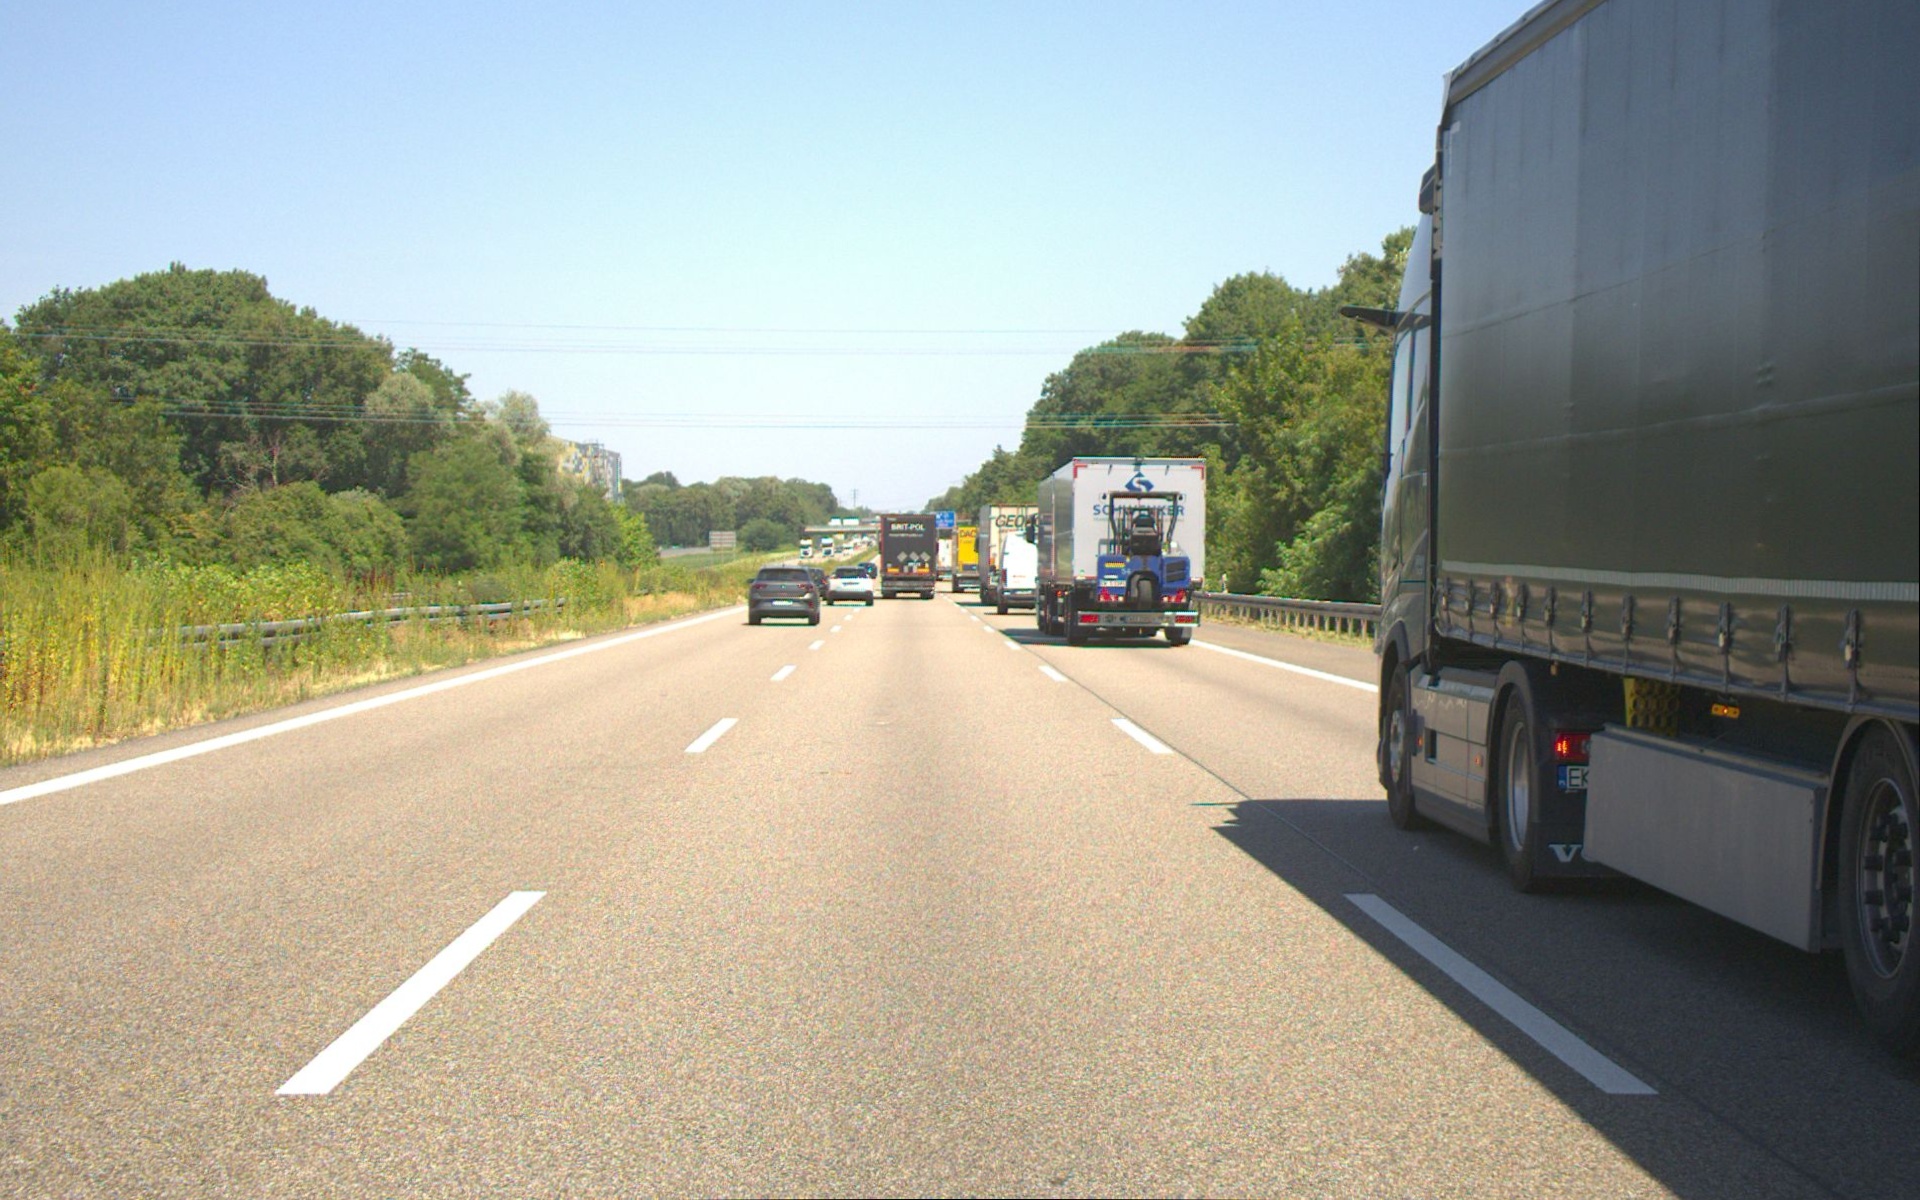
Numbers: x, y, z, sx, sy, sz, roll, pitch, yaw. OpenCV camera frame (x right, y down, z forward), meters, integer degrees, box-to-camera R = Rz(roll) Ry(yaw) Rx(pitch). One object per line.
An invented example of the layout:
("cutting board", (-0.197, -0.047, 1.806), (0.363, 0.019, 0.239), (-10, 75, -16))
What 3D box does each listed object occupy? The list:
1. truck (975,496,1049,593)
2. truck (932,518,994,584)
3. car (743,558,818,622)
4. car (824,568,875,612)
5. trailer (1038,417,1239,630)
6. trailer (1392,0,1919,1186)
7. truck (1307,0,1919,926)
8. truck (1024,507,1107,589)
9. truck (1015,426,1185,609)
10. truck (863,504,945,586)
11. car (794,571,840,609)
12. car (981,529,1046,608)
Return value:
("truck", (2.049, -2.247, 136.289), (2.792, 3.713, 7.108), (1, 2, 0))
("truck", (0.194, -2.910, 202.236), (3.489, 3.713, 7.108), (1, 2, 0))
("car", (-4.634, -0.280, 89.319), (1.759, 1.525, 4.286), (1, 2, -1))
("car", (-4.297, -0.398, 133.966), (1.900, 1.525, 4.084), (1, 2, -1))
("trailer", (3.431, -1.575, 68.821), (3.122, 3.913, 9.938), (1, 2, -2))
("trailer", (4.078, -0.662, 11.157), (3.434, 4.167, 13.633), (1, 1, -1))
("truck", (3.988, -0.705, 18.147), (3.464, 4.163, 6.844), (1, 0, -1))
("truck", (4.928, -2.496, 162.192), (3.667, 3.713, 7.108), (1, 2, 0))
("truck", (3.085, -1.925, 78.811), (3.057, 3.865, 10.035), (1, 2, -2))
("truck", (-2.607, -2.619, 162.073), (3.667, 3.713, 7.108), (1, 2, 0))
("car", (-6.390, -0.470, 153.756), (1.900, 1.525, 4.084), (1, 2, -1))
("car", (1.689, -1.039, 110.219), (1.907, 2.417, 4.286), (1, 2, -1))
